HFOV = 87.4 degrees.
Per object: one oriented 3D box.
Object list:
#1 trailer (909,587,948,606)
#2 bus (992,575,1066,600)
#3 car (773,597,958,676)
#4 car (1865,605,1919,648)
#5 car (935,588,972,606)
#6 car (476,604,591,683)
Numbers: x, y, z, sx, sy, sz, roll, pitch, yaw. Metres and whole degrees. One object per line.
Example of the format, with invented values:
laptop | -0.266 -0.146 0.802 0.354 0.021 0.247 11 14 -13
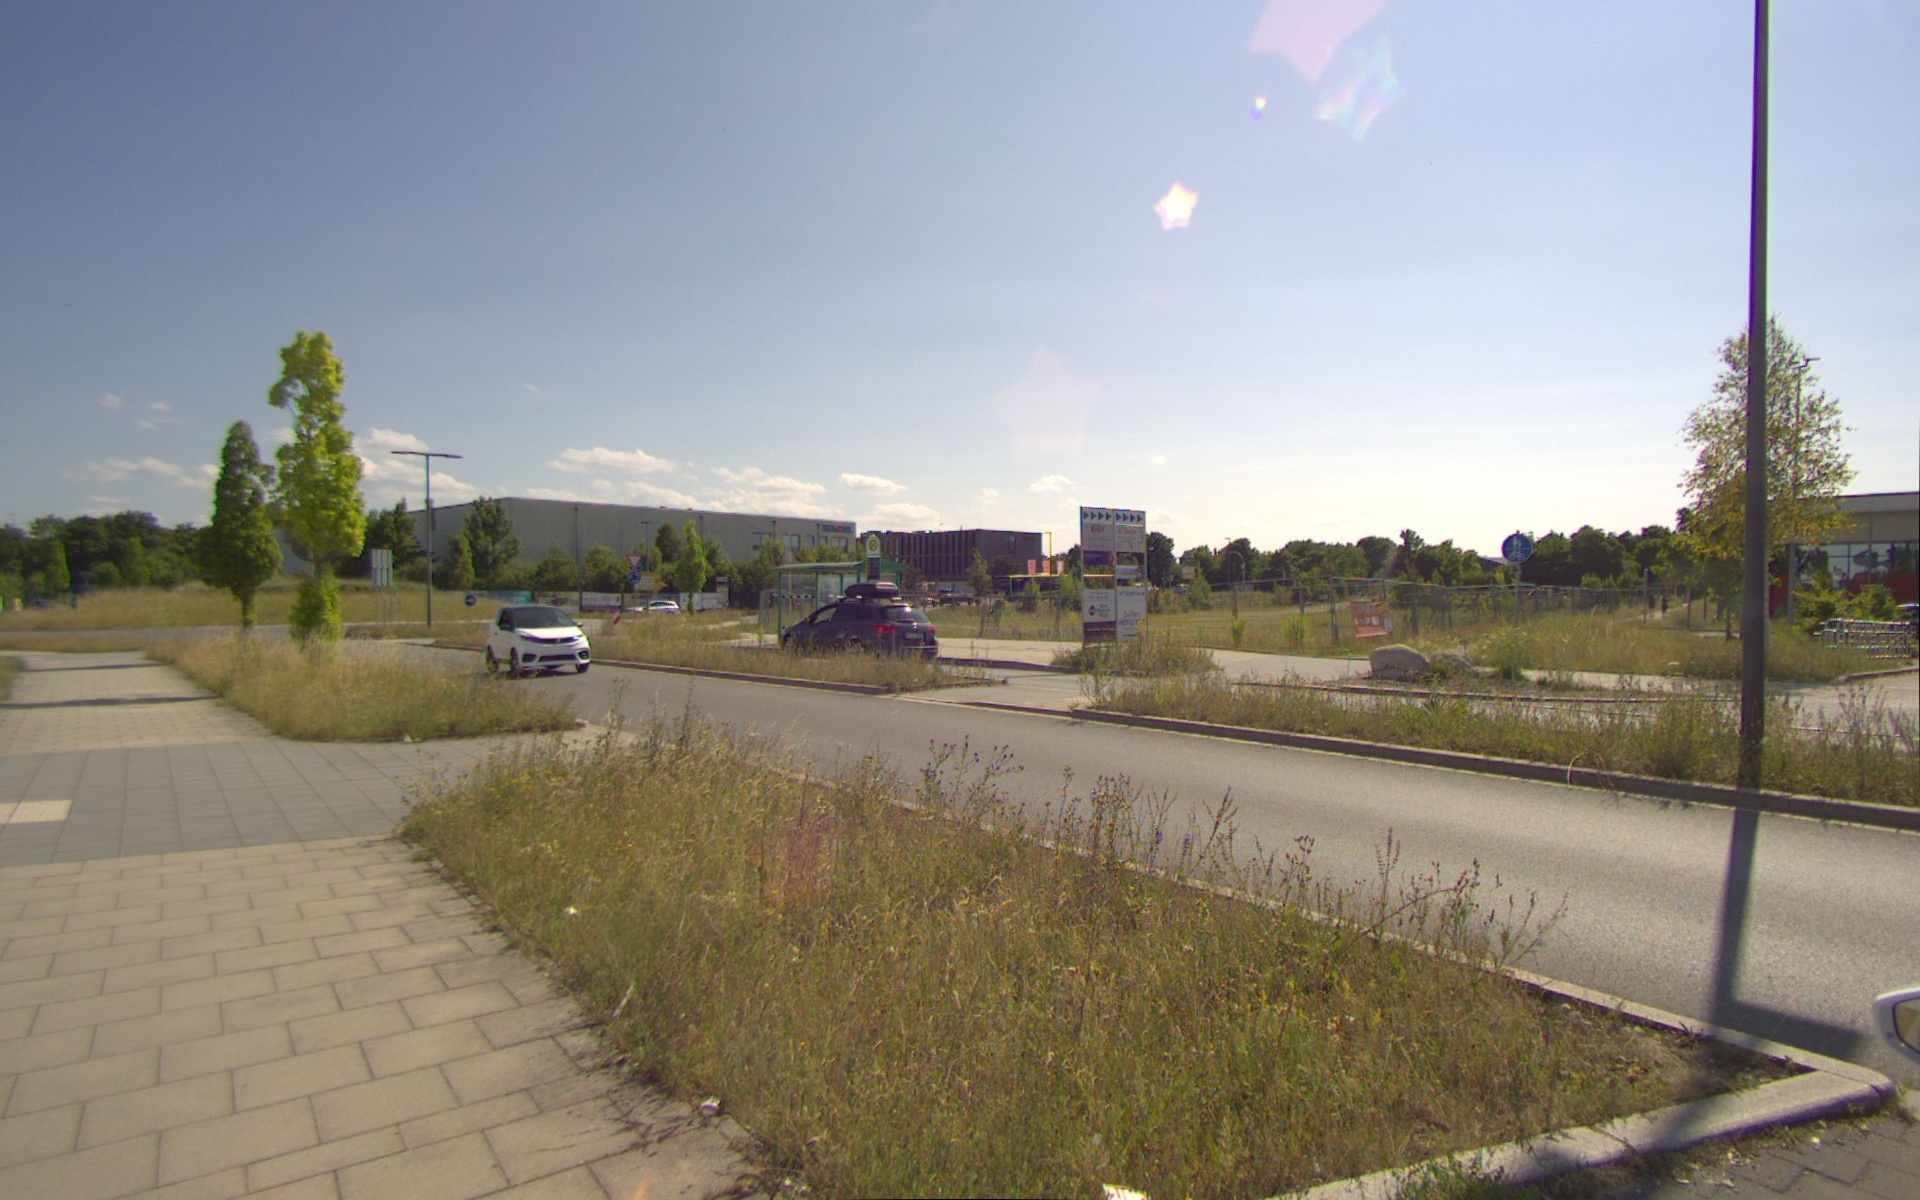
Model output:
trailer | -3.157 -0.318 101.954 1.800 1.885 3.983 1 1 38
bus | 8.127 -1.482 116.628 2.540 2.772 11.517 1 1 38
car | -2.202 0.748 22.619 4.140 1.537 1.987 1 1 45
car | 33.606 0.920 34.371 1.760 1.442 3.795 0 1 -43
car | -0.668 -0.303 105.082 1.800 1.885 3.983 1 1 38
car | -9.298 0.875 21.812 1.467 1.510 2.965 -2 2 -41
